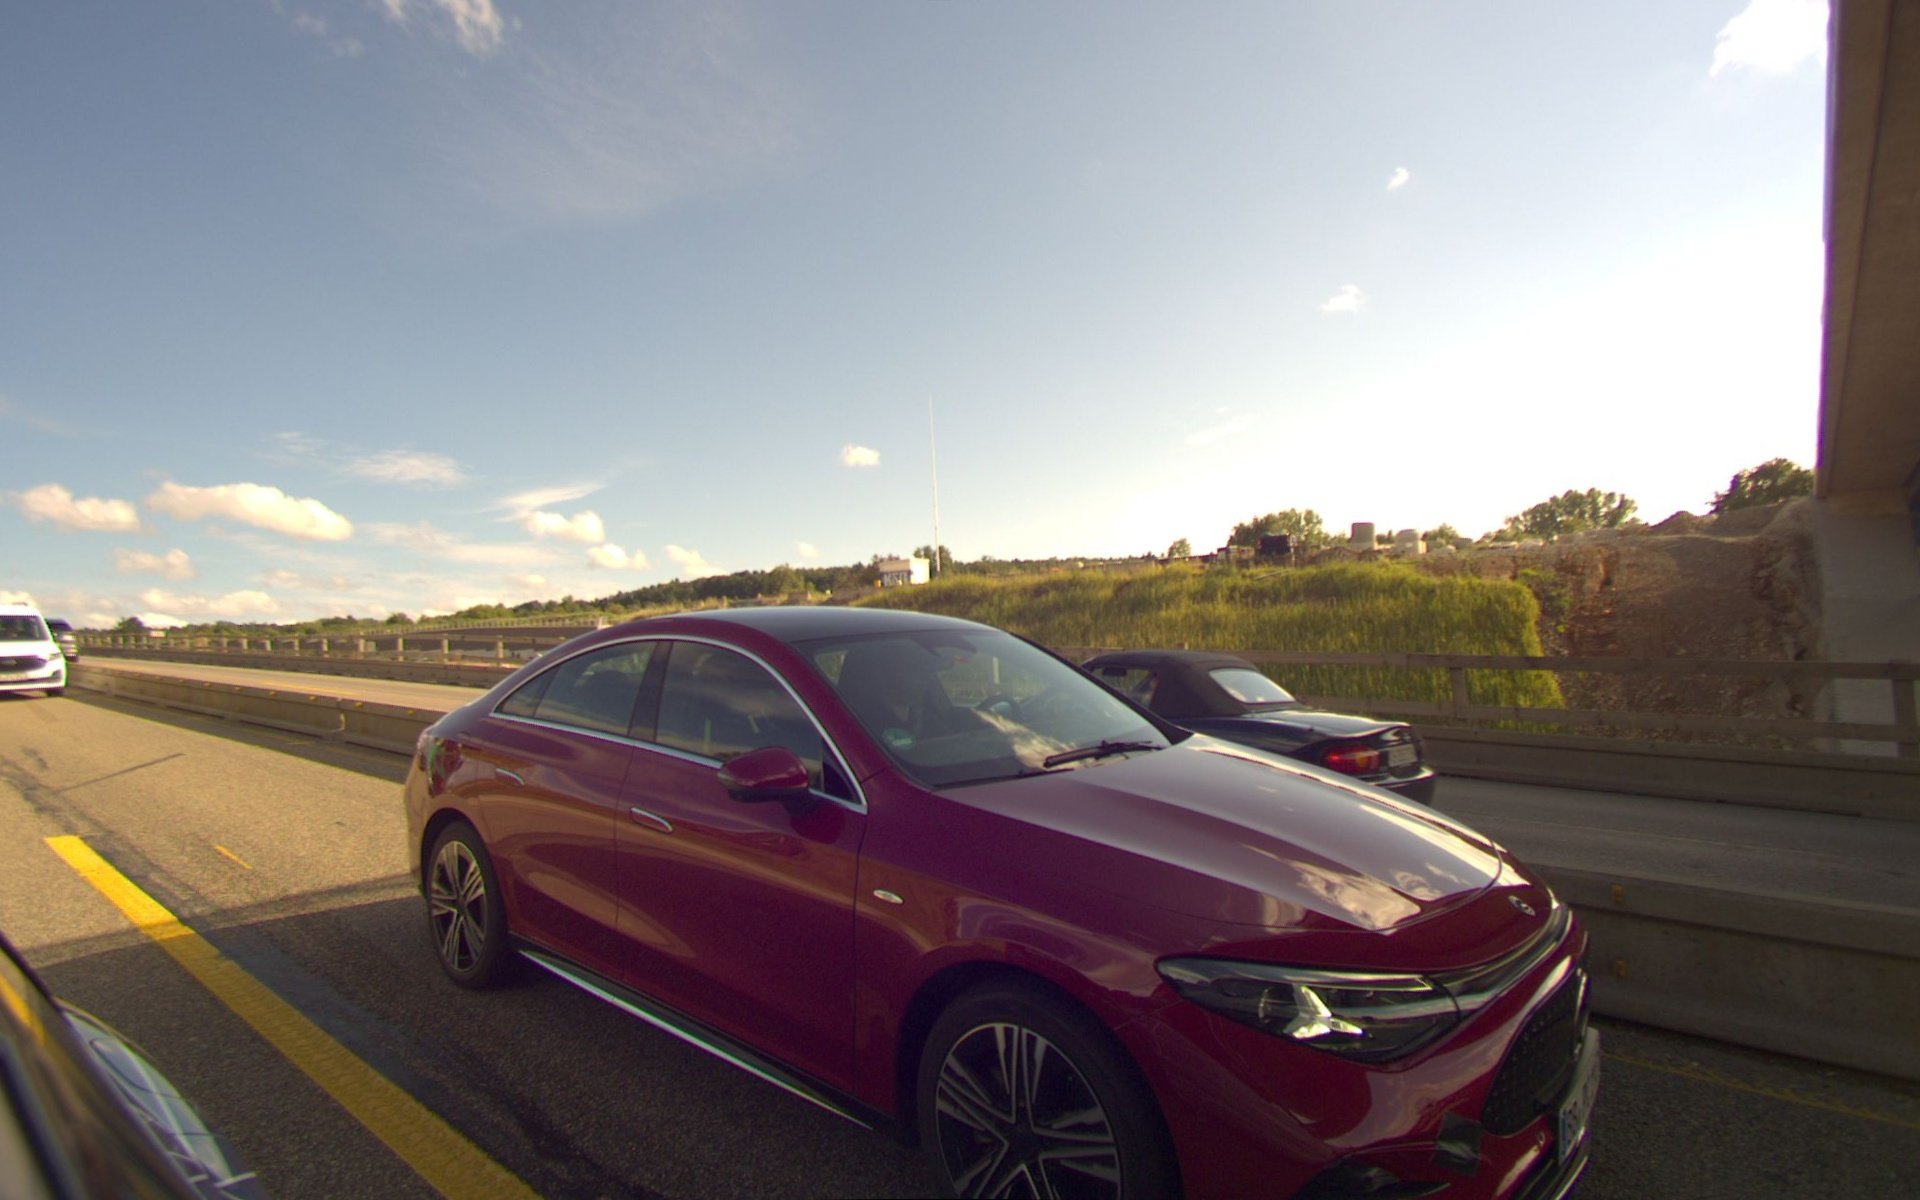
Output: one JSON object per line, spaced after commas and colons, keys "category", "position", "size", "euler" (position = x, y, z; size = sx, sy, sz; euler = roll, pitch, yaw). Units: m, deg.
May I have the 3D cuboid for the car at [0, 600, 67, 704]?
{"category": "car", "position": [-18.853, 0.983, 19.476], "size": [4.451, 1.837, 1.805], "euler": [-2, 0, 39]}

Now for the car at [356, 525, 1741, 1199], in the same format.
{"category": "car", "position": [-0.264, 0.684, 3.571], "size": [4.681, 1.503, 1.804], "euler": [-2, 0, 41]}

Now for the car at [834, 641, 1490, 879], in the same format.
{"category": "car", "position": [1.164, 0.889, 7.043], "size": [4.215, 1.164, 1.651], "euler": [-2, -4, 41]}

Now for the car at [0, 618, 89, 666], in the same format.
{"category": "car", "position": [-32.348, 1.487, 35.664], "size": [4.214, 1.575, 1.804], "euler": [-2, -4, 40]}
